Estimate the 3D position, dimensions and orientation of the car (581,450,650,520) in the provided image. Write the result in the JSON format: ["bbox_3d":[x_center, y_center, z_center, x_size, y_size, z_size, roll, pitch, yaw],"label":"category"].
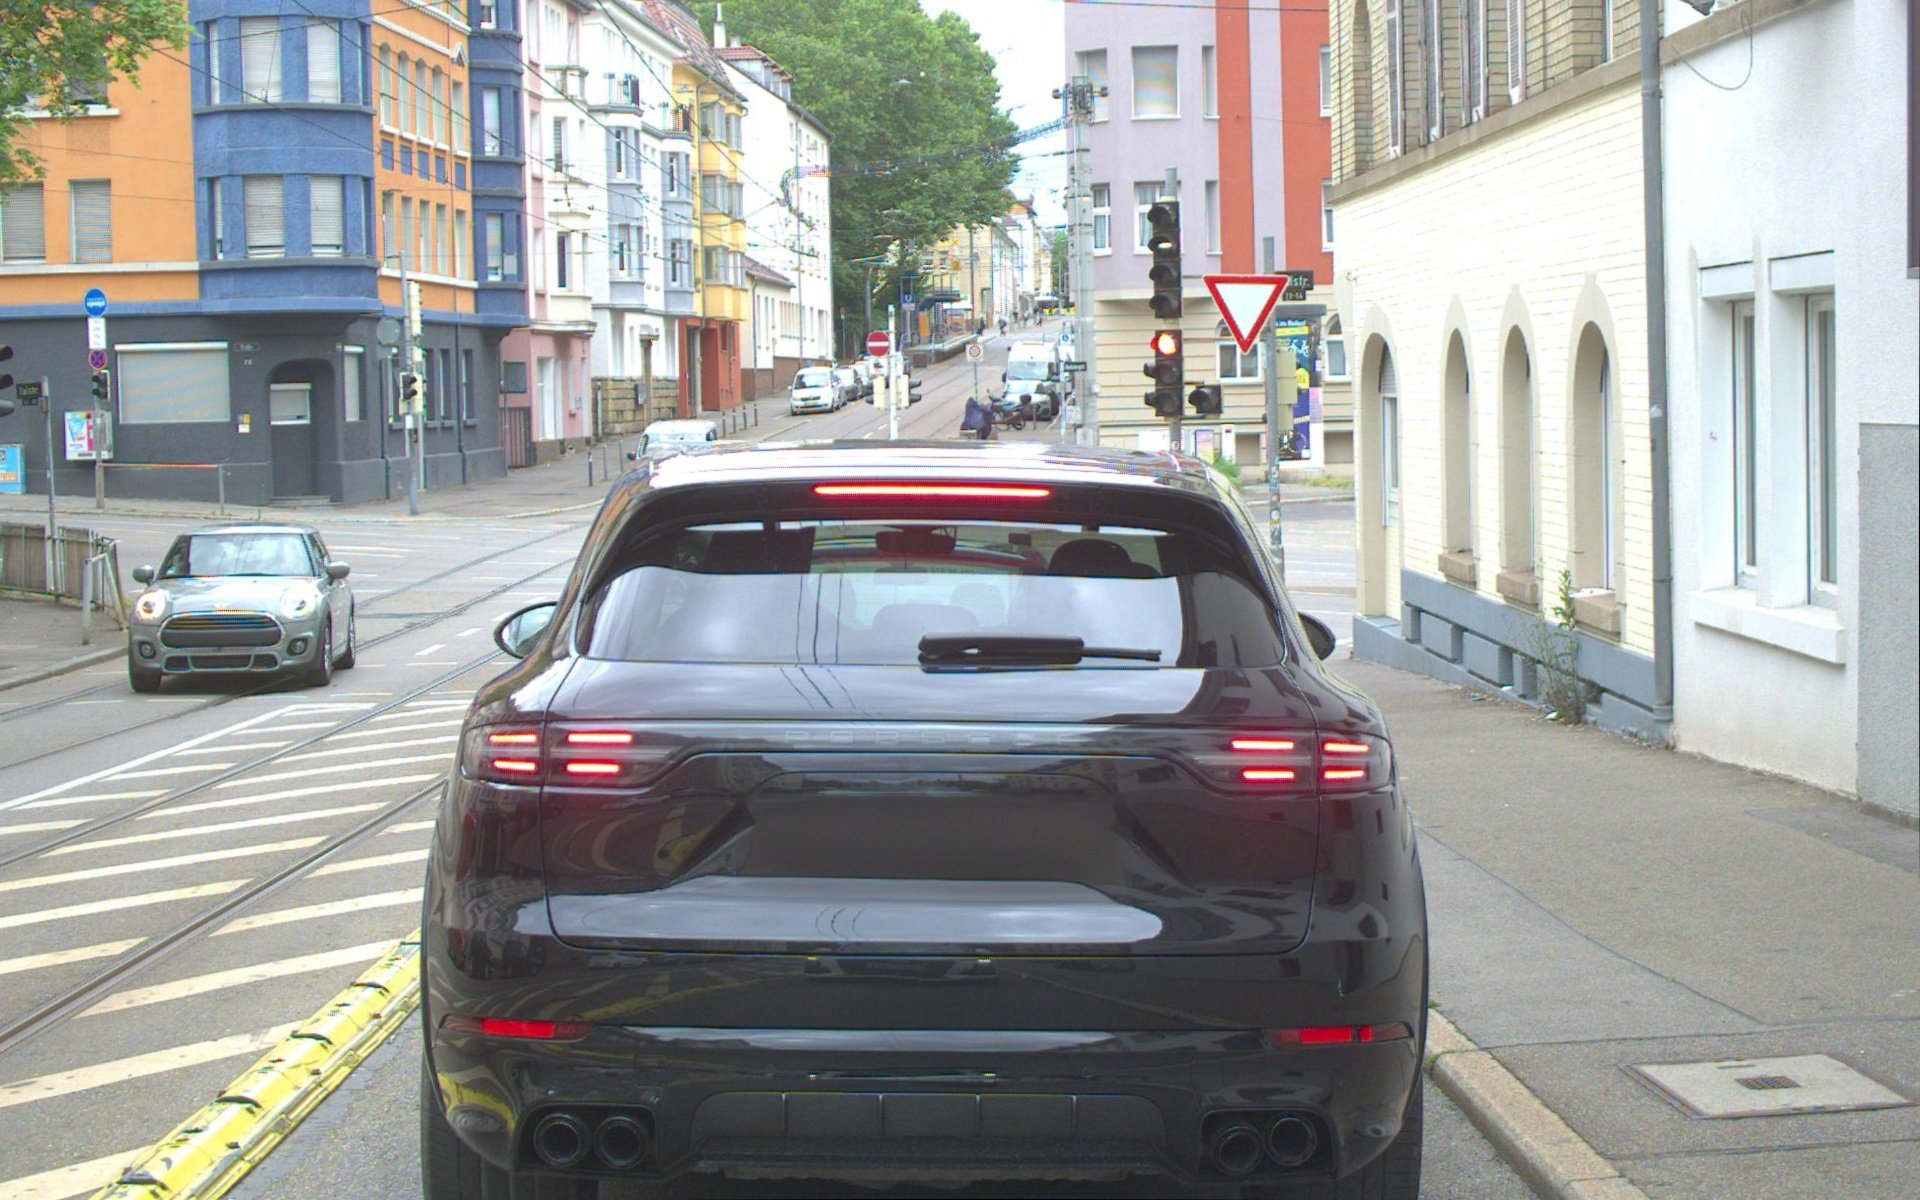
[{"bbox_3d":[-8.742,-2.905,87.361,1.394,1.716,3.359,-1,1,0],"label":"car"}]

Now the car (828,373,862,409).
[{"bbox_3d":[-5.064,-9.214,151.742,1.394,1.445,3.359,-1,1,0],"label":"car"}]

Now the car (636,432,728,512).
[{"bbox_3d":[-6.417,-2.941,79.702,1.751,1.753,4.254,-1,1,0],"label":"car"}]

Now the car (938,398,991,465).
[{"bbox_3d":[0.116,-4.579,93.891,1.394,1.716,3.359,-1,1,0],"label":"car"}]

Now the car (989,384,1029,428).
[{"bbox_3d":[1.781,-7.082,125.681,1.394,1.445,3.359,-1,1,0],"label":"car"}]

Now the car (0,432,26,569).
[{"bbox_3d":[-16.800,-1.527,53.730,4.235,2.110,1.996,1,2,36],"label":"car"}]

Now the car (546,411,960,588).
[{"bbox_3d":[-2.809,-1.303,46.396,5.296,2.233,1.997,0,0,27],"label":"car"}]

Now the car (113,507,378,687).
[{"bbox_3d":[-6.372,-0.064,30.992,1.634,1.503,3.540,-1,1,0],"label":"car"}]

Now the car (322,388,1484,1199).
[{"bbox_3d":[-0.131,0.440,7.977,1.993,1.670,4.000,-1,1,-1],"label":"car"}]

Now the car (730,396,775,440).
[{"bbox_3d":[-7.491,-6.577,124.483,1.394,1.445,3.359,-1,1,0],"label":"car"}]

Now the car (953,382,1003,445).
[{"bbox_3d":[0.523,-5.449,100.681,1.394,1.716,3.359,-1,1,0],"label":"car"}]
